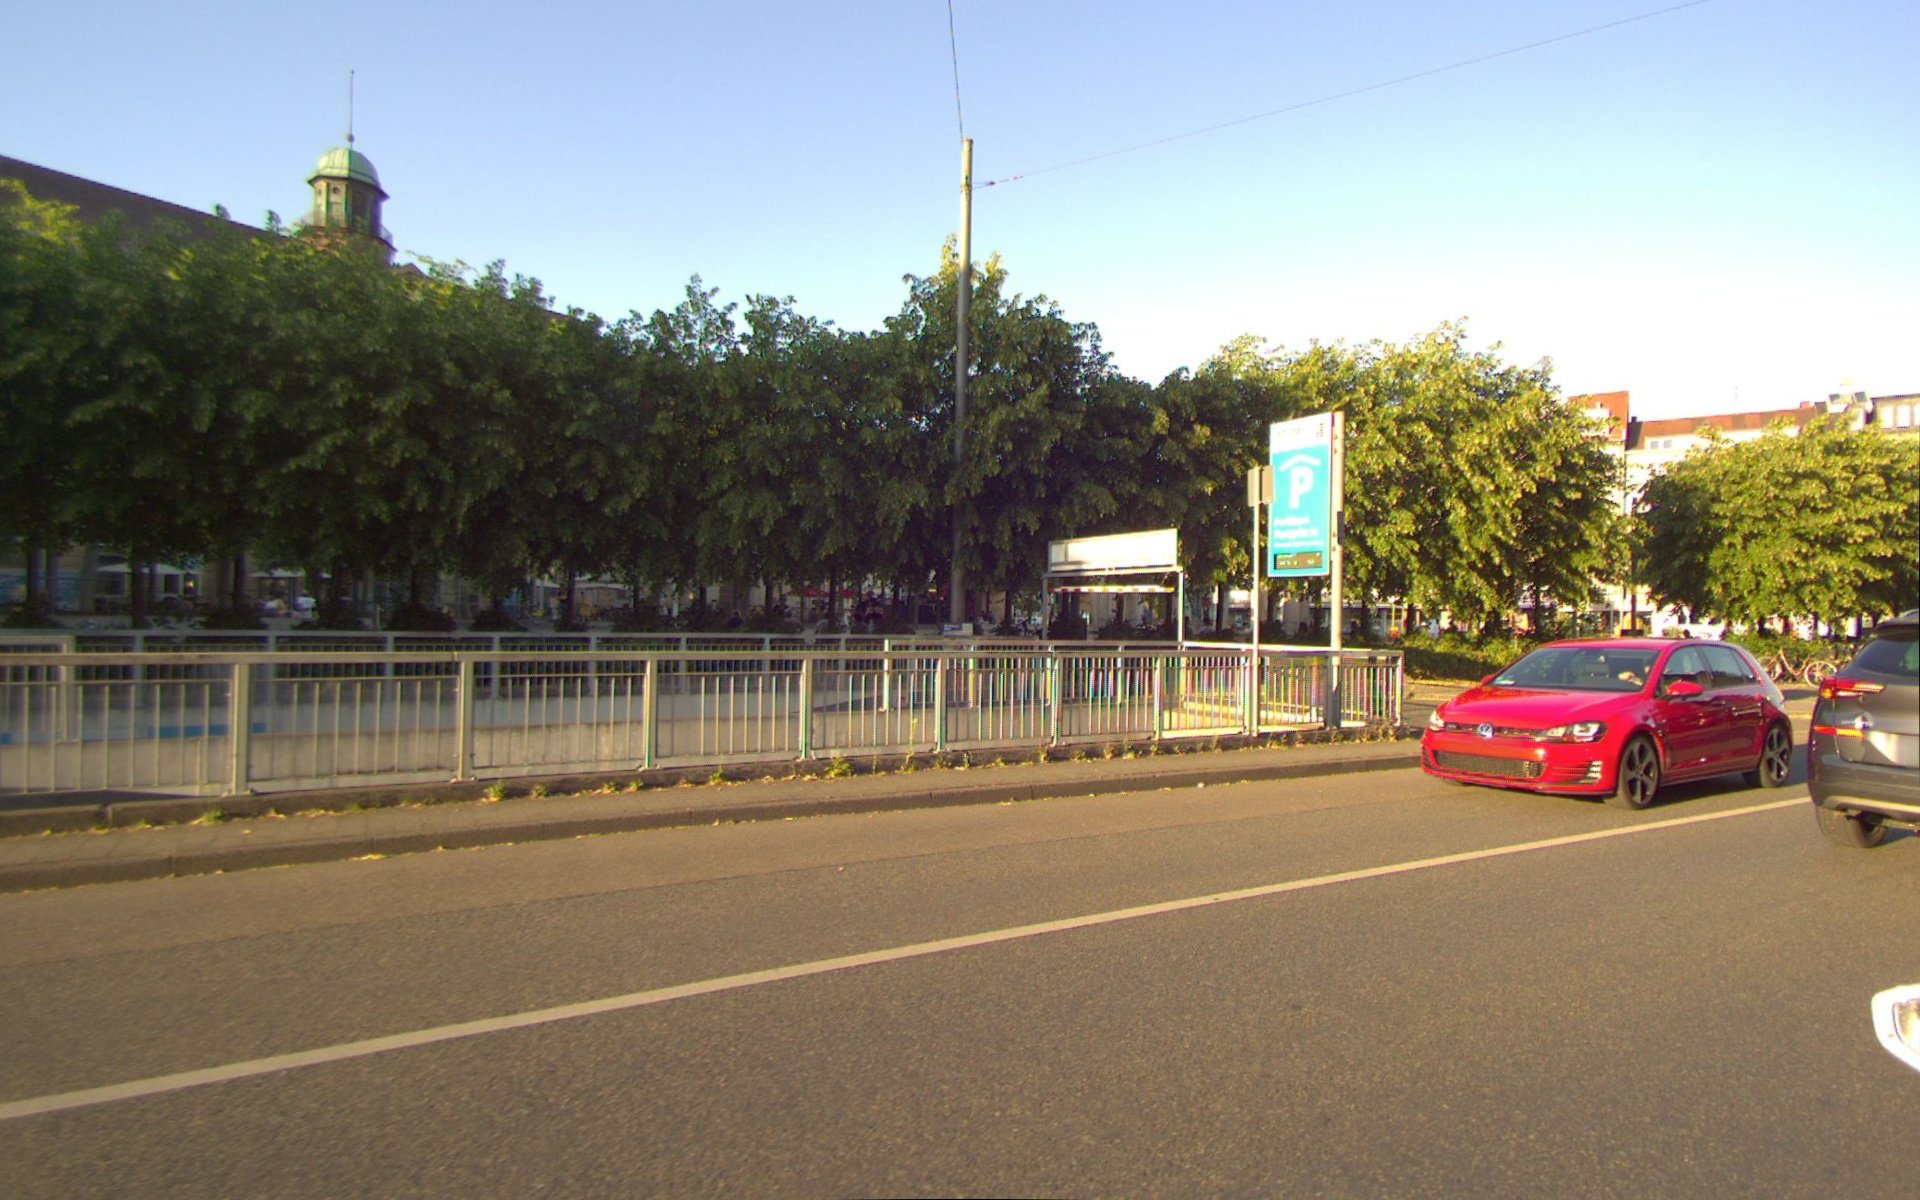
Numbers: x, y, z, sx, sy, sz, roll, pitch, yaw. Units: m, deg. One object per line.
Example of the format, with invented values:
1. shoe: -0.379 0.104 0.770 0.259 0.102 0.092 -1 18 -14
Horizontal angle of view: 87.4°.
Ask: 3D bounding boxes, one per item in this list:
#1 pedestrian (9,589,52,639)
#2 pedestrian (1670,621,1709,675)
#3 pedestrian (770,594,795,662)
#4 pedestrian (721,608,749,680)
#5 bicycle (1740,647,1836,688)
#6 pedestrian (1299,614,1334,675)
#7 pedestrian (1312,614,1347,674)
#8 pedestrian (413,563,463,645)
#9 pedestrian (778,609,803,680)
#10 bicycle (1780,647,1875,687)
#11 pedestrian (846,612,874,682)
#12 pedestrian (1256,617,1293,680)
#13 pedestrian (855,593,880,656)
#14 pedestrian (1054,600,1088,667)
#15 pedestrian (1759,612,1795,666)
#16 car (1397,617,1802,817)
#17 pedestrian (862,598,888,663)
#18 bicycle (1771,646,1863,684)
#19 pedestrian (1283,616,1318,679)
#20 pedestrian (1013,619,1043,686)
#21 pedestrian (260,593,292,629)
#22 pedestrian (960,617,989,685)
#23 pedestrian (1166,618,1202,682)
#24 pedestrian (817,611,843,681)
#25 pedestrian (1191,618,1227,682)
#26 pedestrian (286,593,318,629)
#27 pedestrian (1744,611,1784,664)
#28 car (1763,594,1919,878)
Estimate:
1. pedestrian: -24.625 0.382 26.617 0.778 1.296 0.652 0 -2 35
2. pedestrian: 22.400 1.459 30.843 0.558 1.616 0.791 1 0 -10
3. pedestrian: -4.279 0.672 24.274 0.558 1.616 0.791 1 0 -10
4. pedestrian: -5.152 1.002 22.995 0.558 1.616 0.678 1 0 -10
5. bicycle: 21.262 1.711 25.835 0.479 0.864 1.814 1 2 -33
6. pedestrian: 9.573 1.190 26.995 0.558 1.616 0.791 1 0 -10
7. pedestrian: 10.175 1.199 27.659 0.558 1.616 0.791 1 0 -10
8. pedestrian: -10.515 0.079 20.221 0.693 1.616 0.673 1 0 42
9. pedestrian: -3.964 1.037 23.475 0.558 1.616 0.678 1 0 -10
10. bicycle: 22.903 1.759 26.549 0.479 0.864 1.814 1 2 -33
11. pedestrian: -2.359 1.095 23.653 0.558 1.616 0.678 1 0 -10
12. pedestrian: 8.312 1.280 26.537 0.665 1.616 0.678 1 0 -10
13. pedestrian: -2.414 0.640 26.208 0.558 1.616 0.791 1 0 -10
14. pedestrian: 2.749 0.824 24.913 0.665 1.616 0.678 1 0 -10
15. pedestrian: 24.870 1.180 30.595 0.478 1.616 0.683 1 0 -10
16. car: 6.191 0.993 9.644 3.905 1.572 1.684 1 -3 -31
17. pedestrian: -2.155 0.771 25.394 0.558 1.616 0.791 1 0 -10
18. bicycle: 23.416 1.760 27.480 0.479 0.864 1.814 1 2 -33
19. pedestrian: 9.022 1.243 26.630 0.558 1.616 0.791 1 0 -10
20. pedestrian: 1.663 1.279 24.692 0.558 1.616 0.678 1 0 -10
21. pedestrian: -21.174 0.342 31.089 0.703 1.073 0.609 1 0 35
22. pedestrian: 0.354 1.233 24.493 0.558 1.616 0.678 1 0 -10
23. pedestrian: 5.784 1.288 25.960 0.665 1.616 0.678 1 0 -10
24. pedestrian: -3.049 1.070 23.564 0.558 1.616 0.678 1 0 -10
25. pedestrian: 6.450 1.294 26.086 0.665 1.616 0.678 1 0 -10
26. pedestrian: -20.691 0.342 31.588 0.703 1.135 0.609 1 0 35
27. pedestrian: 25.239 1.175 31.527 0.558 1.616 0.791 1 0 -10
28. car: 7.496 0.851 6.828 4.057 1.671 1.887 2 -1 -31
